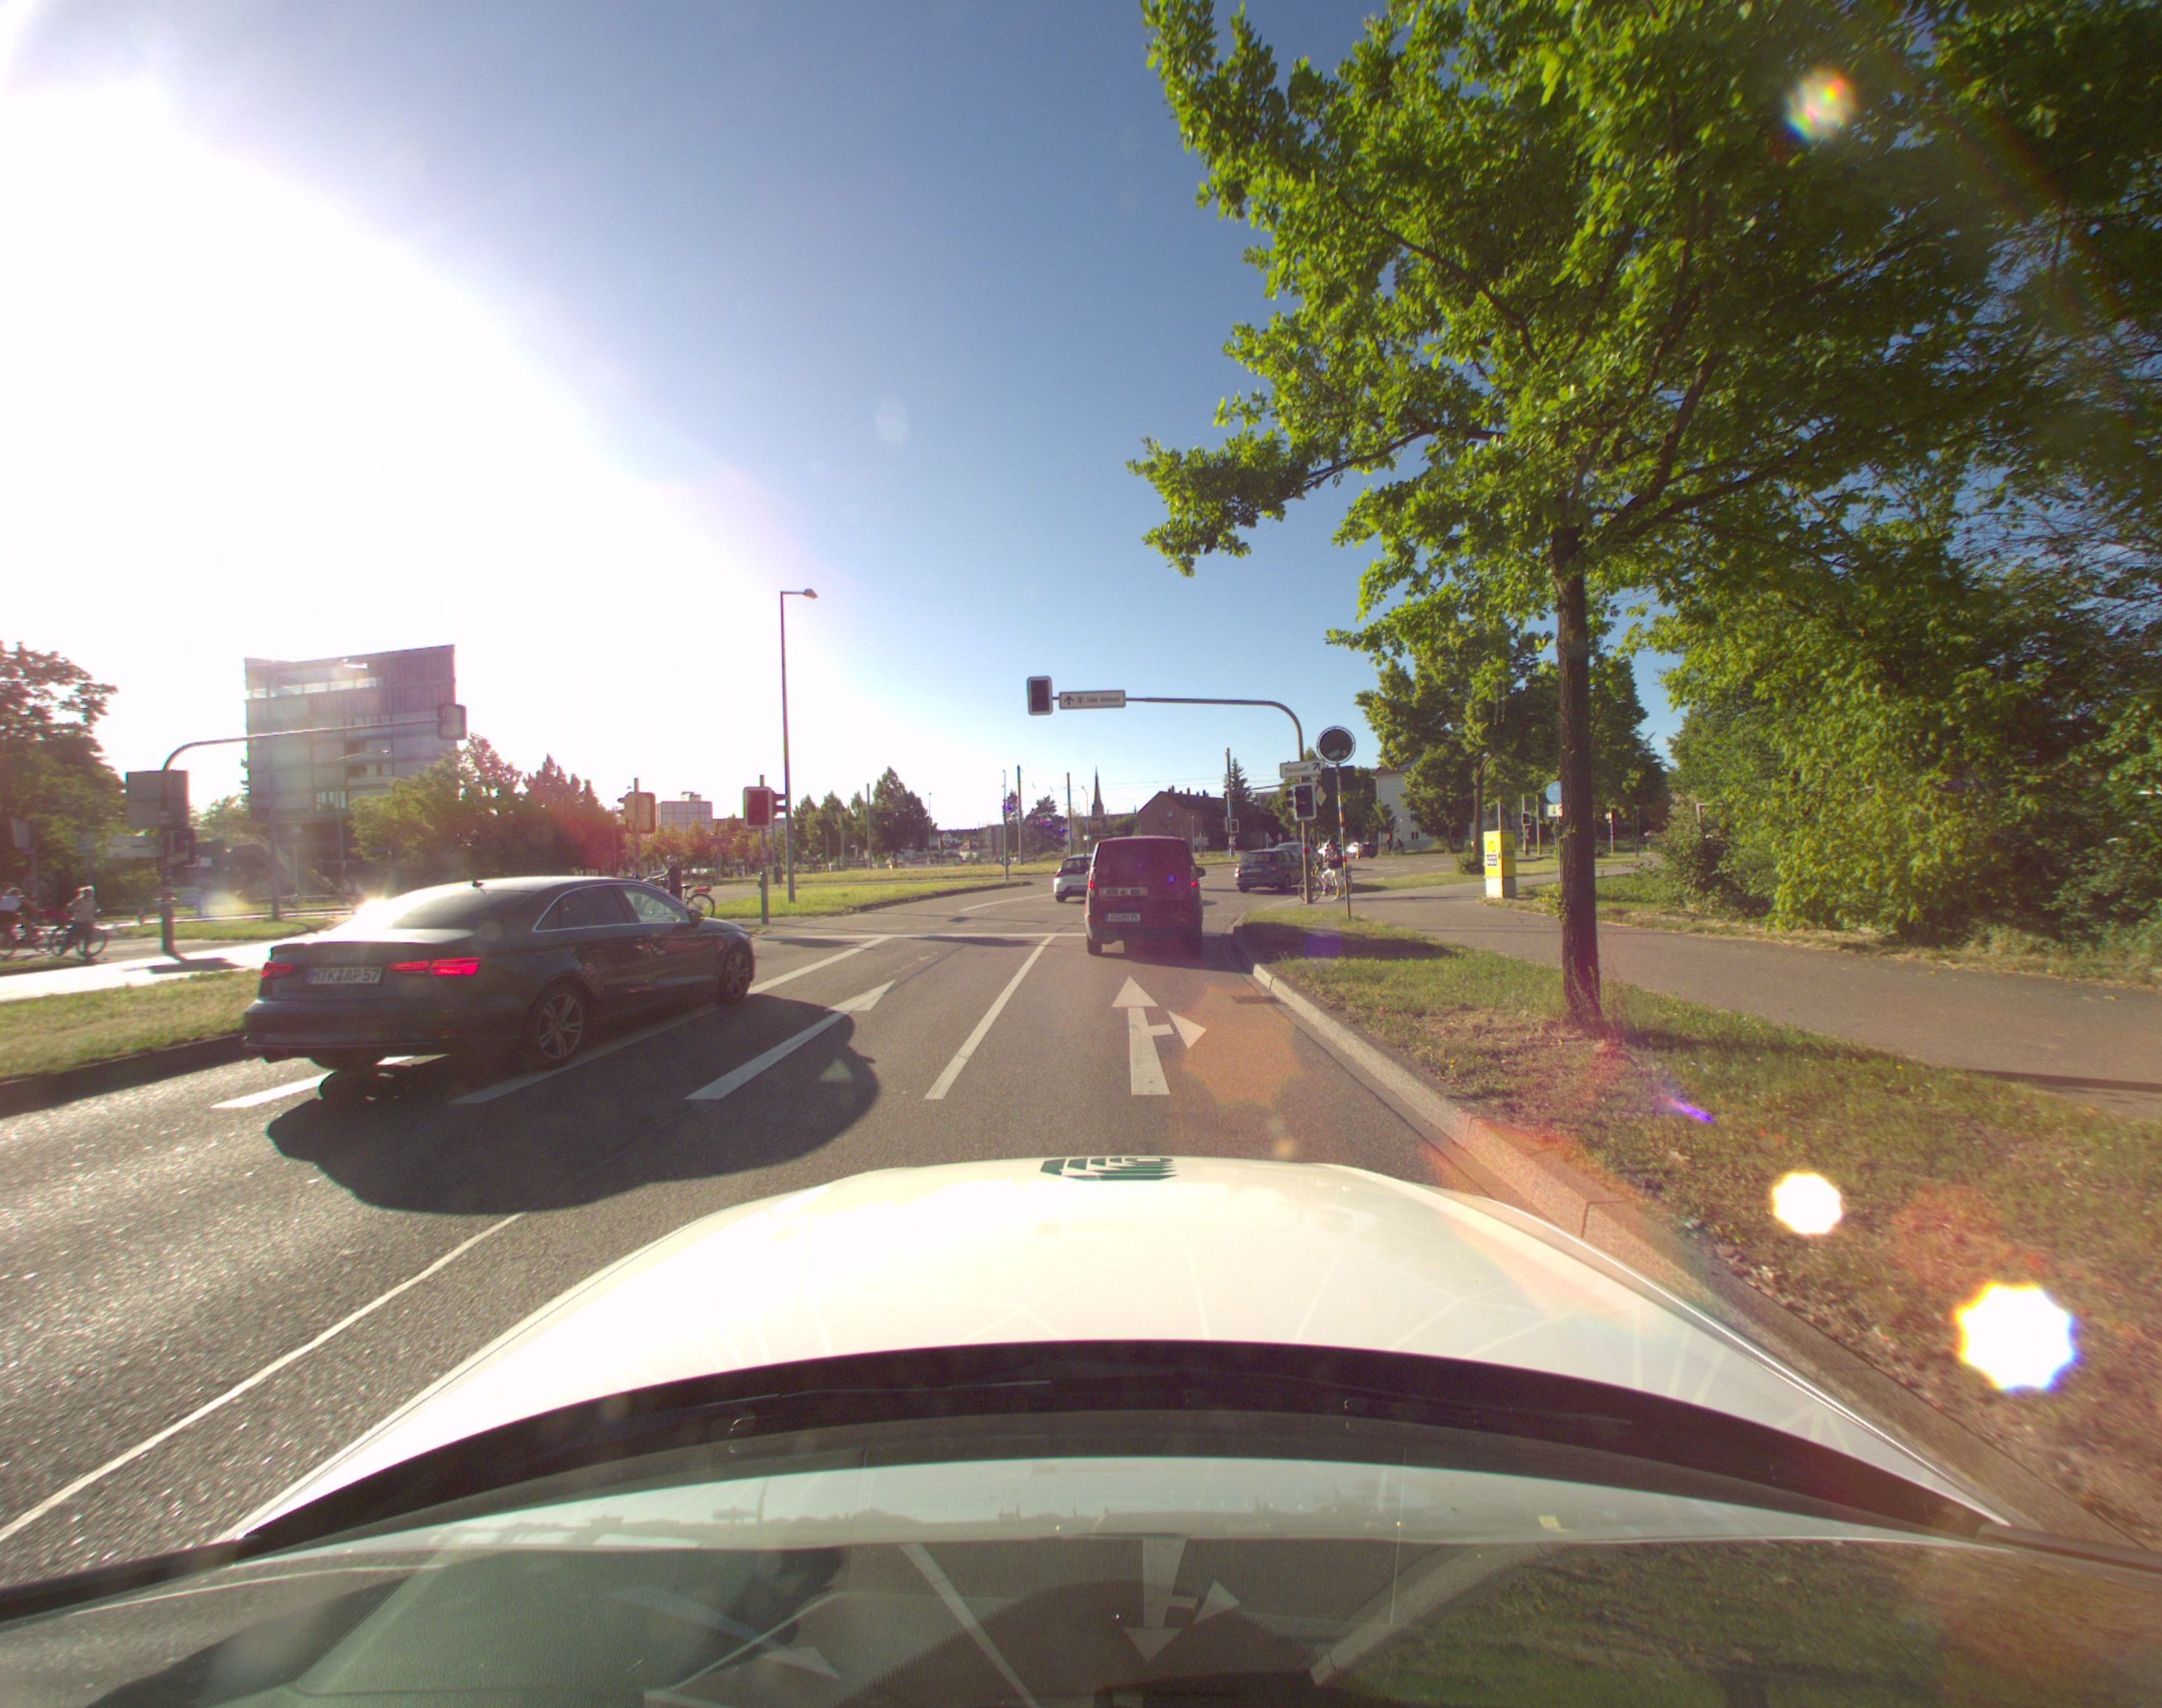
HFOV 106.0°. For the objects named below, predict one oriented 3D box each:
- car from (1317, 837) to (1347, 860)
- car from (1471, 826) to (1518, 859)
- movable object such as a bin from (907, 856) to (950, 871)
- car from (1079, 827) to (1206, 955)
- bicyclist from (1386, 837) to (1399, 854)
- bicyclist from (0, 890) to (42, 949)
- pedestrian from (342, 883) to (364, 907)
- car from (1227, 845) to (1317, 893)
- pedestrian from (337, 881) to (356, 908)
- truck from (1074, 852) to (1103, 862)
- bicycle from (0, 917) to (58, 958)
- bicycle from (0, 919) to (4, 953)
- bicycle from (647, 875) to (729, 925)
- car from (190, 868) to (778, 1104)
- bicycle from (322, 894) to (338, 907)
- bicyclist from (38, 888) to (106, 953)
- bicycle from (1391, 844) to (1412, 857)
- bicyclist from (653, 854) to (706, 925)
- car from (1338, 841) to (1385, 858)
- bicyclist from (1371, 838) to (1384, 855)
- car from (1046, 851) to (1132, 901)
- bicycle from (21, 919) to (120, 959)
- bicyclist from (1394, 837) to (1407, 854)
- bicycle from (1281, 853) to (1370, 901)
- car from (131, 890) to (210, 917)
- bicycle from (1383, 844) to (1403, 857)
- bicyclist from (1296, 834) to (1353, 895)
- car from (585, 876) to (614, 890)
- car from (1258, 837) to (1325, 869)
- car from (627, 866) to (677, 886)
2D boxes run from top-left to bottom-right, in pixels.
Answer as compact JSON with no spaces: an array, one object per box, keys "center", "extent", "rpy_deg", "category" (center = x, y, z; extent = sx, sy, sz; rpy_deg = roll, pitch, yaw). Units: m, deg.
[{"center":[19.743,-0.439,64.198],"extent":[1.979,1.639,4.424],"rpy_deg":[-2,0,13],"category":"car"},{"center":[25.324,-0.671,49.988],"extent":[1.980,1.897,4.776],"rpy_deg":[-2,-1,20],"category":"car"},{"center":[-30.556,1.949,163.445],"extent":[7.970,2.782,2.910],"rpy_deg":[-2,0,-38],"category":"movable object such as a bin"},{"center":[1.033,0.543,13.549],"extent":[1.794,1.813,3.814],"rpy_deg":[-1,0,5],"category":"car"},{"center":[33.488,-0.891,87.447],"extent":[0.812,1.852,1.019],"rpy_deg":[0,-1,-19],"category":"bicyclist"},{"center":[-26.464,1.622,20.169],"extent":[0.619,1.392,0.712],"rpy_deg":[-2,0,-28],"category":"bicyclist"},{"center":[-53.363,3.001,59.696],"extent":[0.885,1.629,0.756],"rpy_deg":[-2,0,-19],"category":"pedestrian"},{"center":[6.626,0.461,27.876],"extent":[1.697,1.436,4.178],"rpy_deg":[-2,0,32],"category":"car"},{"center":[-55.993,3.075,62.072],"extent":[0.587,2.005,0.941],"rpy_deg":[-2,0,-10],"category":"pedestrian"},{"center":[1.476,0.605,159.298],"extent":[2.181,2.014,6.363],"rpy_deg":[0,-2,-37],"category":"truck"},{"center":[-26.461,2.074,20.194],"extent":[0.619,0.852,1.872],"rpy_deg":[-2,0,-28],"category":"bicycle"},{"center":[-27.302,2.080,19.770],"extent":[0.619,0.852,1.872],"rpy_deg":[-2,0,-28],"category":"bicycle"},{"center":[-9.557,1.108,19.846],"extent":[1.649,1.128,0.702],"rpy_deg":[-2,-1,-8],"category":"bicycle"},{"center":[-4.574,0.874,7.275],"extent":[1.752,1.380,4.364],"rpy_deg":[-2,0,5],"category":"car"},{"center":[-61.997,3.824,67.246],"extent":[2.233,0.988,0.667],"rpy_deg":[-2,0,40],"category":"bicycle"},{"center":[-24.856,1.630,20.065],"extent":[0.917,1.517,0.618],"rpy_deg":[-2,0,8],"category":"bicyclist"},{"center":[34.533,-0.367,87.822],"extent":[0.818,1.266,2.195],"rpy_deg":[0,-1,-19],"category":"bicycle"},{"center":[-9.762,0.845,19.812],"extent":[0.939,1.663,0.702],"rpy_deg":[-2,-1,-8],"category":"bicyclist"},{"center":[26.785,-0.429,77.878],"extent":[2.000,1.539,4.379],"rpy_deg":[-2,0,-19],"category":"car"},{"center":[33.160,-0.815,91.095],"extent":[0.888,1.852,1.015],"rpy_deg":[0,-2,-34],"category":"bicyclist"},{"center":[0.348,0.644,25.557],"extent":[1.789,1.461,3.824],"rpy_deg":[-1,0,15],"category":"car"},{"center":[-24.889,2.095,20.067],"extent":[1.872,0.852,0.618],"rpy_deg":[-2,0,7],"category":"bicycle"},{"center":[34.498,-0.893,87.887],"extent":[0.812,1.852,1.019],"rpy_deg":[0,-1,-19],"category":"bicyclist"},{"center":[6.637,0.614,22.107],"extent":[2.218,1.155,0.870],"rpy_deg":[-3,-1,-22],"category":"bicycle"},{"center":[-72.269,3.928,64.709],"extent":[1.824,1.805,3.749],"rpy_deg":[-2,0,5],"category":"car"},{"center":[33.495,-0.363,87.447],"extent":[0.818,1.266,2.195],"rpy_deg":[0,-1,-19],"category":"bicycle"},{"center":[6.599,0.285,22.100],"extent":[1.088,1.562,0.870],"rpy_deg":[-3,-1,-22],"category":"bicyclist"},{"center":[-67.021,4.004,113.318],"extent":[2.476,1.785,4.953],"rpy_deg":[-2,0,-43],"category":"car"},{"center":[11.372,-0.078,43.724],"extent":[1.974,1.575,4.437],"rpy_deg":[-2,0,35],"category":"car"},{"center":[-37.170,1.912,70.755],"extent":[1.996,1.541,4.324],"rpy_deg":[-2,0,0],"category":"car"}]
